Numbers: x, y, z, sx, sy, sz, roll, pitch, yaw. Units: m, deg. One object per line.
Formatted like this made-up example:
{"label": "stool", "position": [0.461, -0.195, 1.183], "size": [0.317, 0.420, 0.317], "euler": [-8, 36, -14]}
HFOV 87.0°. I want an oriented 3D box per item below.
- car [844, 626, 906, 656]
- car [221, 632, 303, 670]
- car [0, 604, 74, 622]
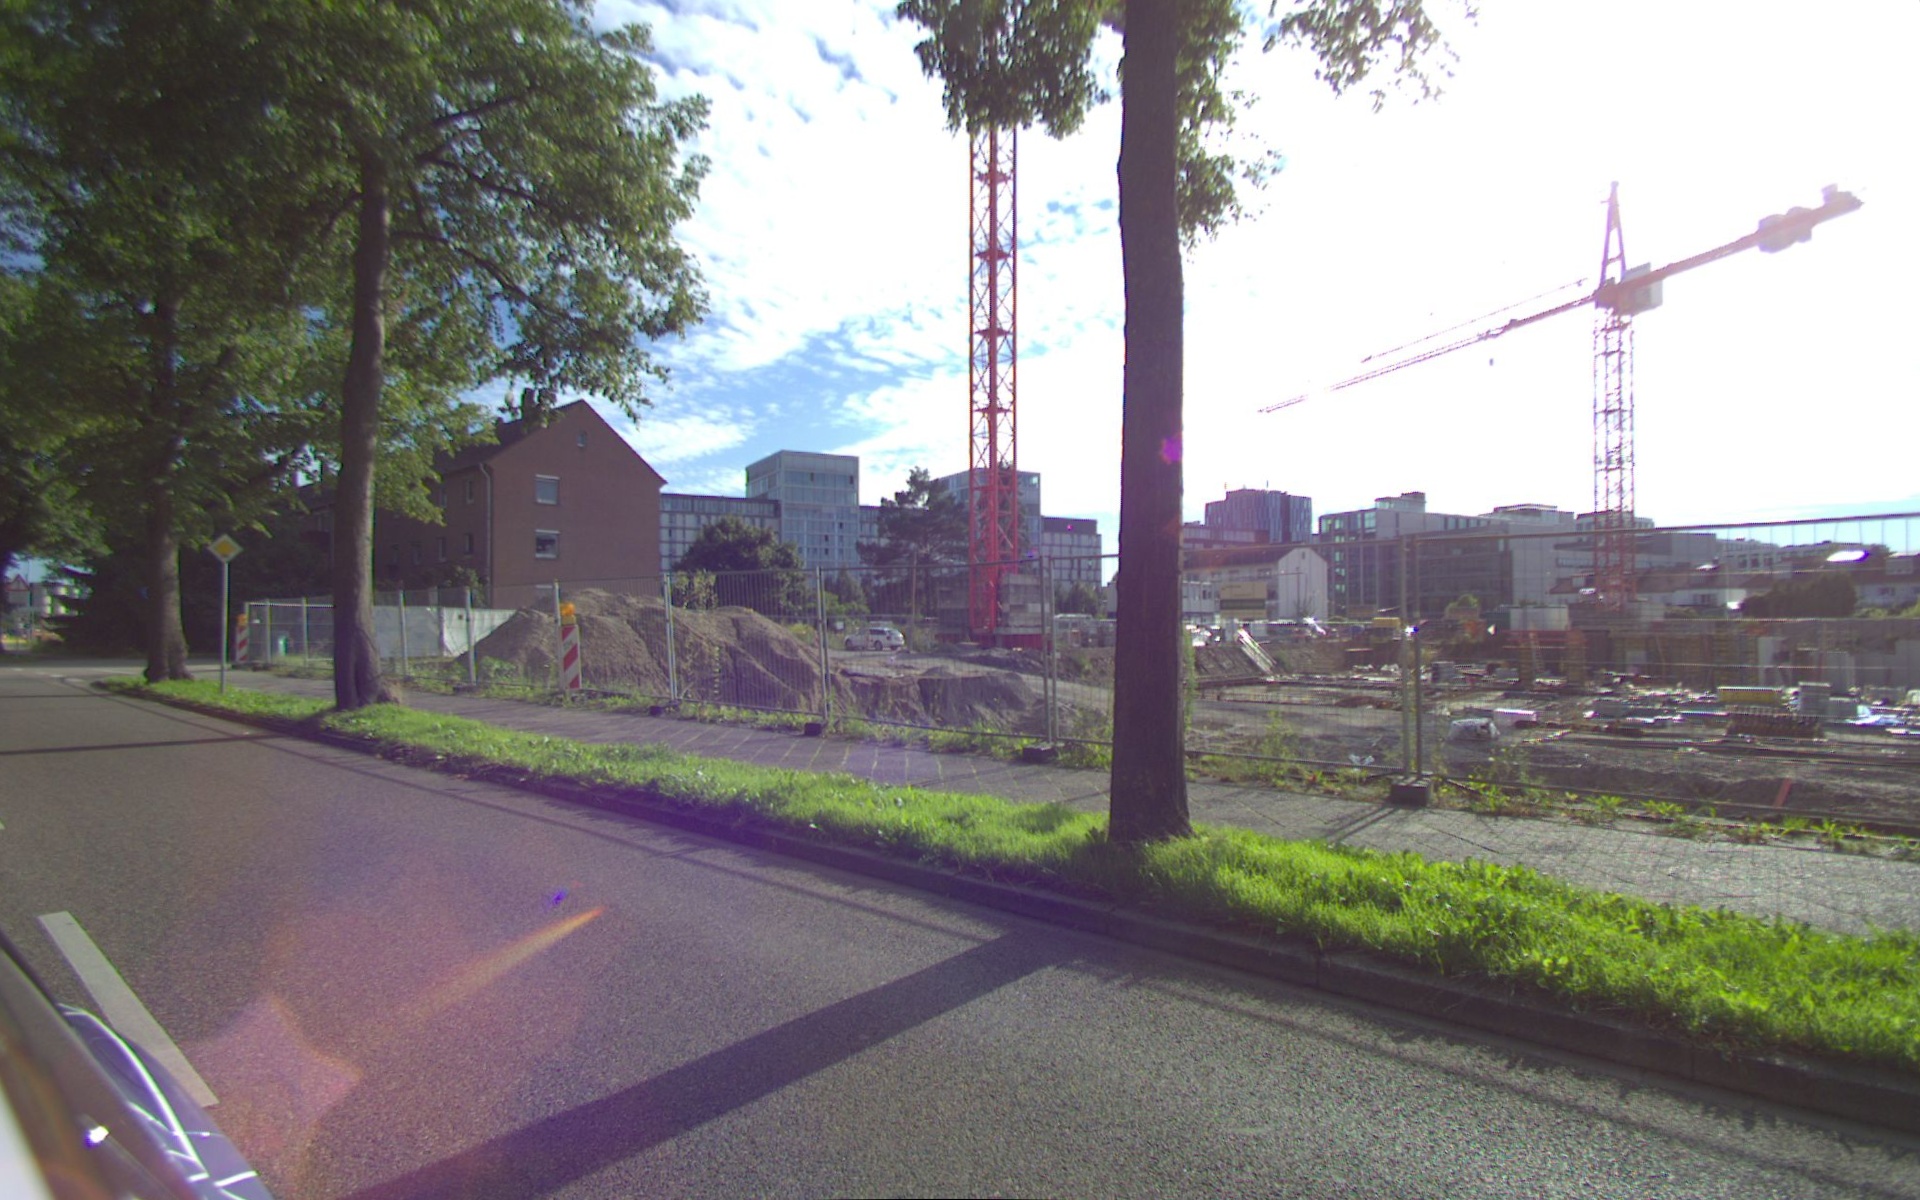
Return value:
{"label": "car", "position": [-5.691, 2.676, 67.458], "size": [3.977, 1.821, 1.796], "euler": [0, 0, 37]}
{"label": "car", "position": [-29.848, 2.136, 43.231], "size": [4.509, 1.439, 1.971], "euler": [0, -2, 44]}
{"label": "car", "position": [-100.201, 1.406, 109.610], "size": [6.162, 1.881, 2.479], "euler": [-1, -1, -2]}
